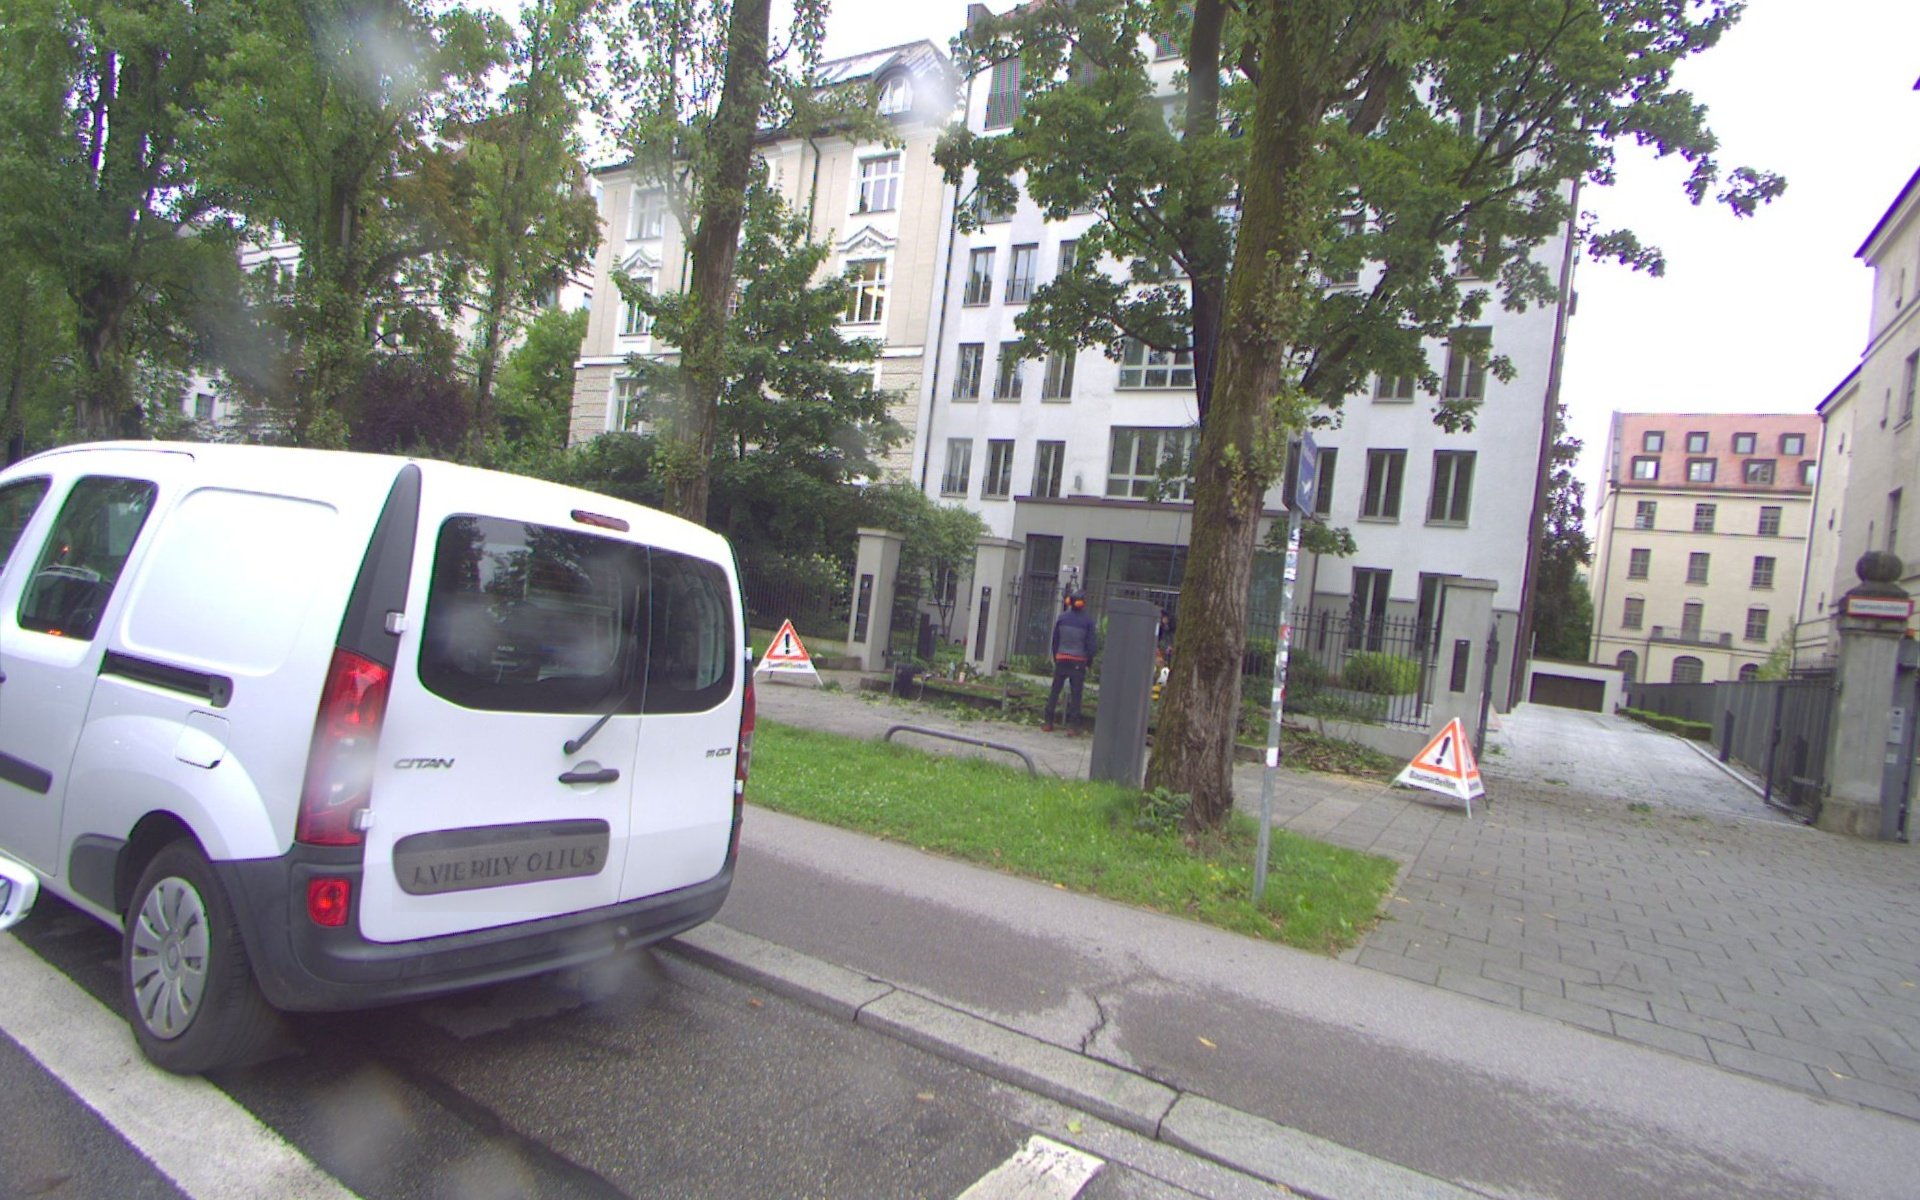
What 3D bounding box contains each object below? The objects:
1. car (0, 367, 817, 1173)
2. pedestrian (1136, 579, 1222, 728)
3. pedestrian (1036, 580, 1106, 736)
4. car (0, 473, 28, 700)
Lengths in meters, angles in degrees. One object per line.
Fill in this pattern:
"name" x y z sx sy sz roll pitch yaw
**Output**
"car" -2.884 0.251 4.189 4.097 1.904 1.854 7 0 30
"pedestrian" 2.915 0.697 13.506 0.814 1.823 0.904 9 2 10
"pedestrian" 1.418 0.726 12.813 0.626 1.886 0.488 7 1 14
"car" -8.964 -0.363 7.528 4.141 1.612 1.743 7 0 31
